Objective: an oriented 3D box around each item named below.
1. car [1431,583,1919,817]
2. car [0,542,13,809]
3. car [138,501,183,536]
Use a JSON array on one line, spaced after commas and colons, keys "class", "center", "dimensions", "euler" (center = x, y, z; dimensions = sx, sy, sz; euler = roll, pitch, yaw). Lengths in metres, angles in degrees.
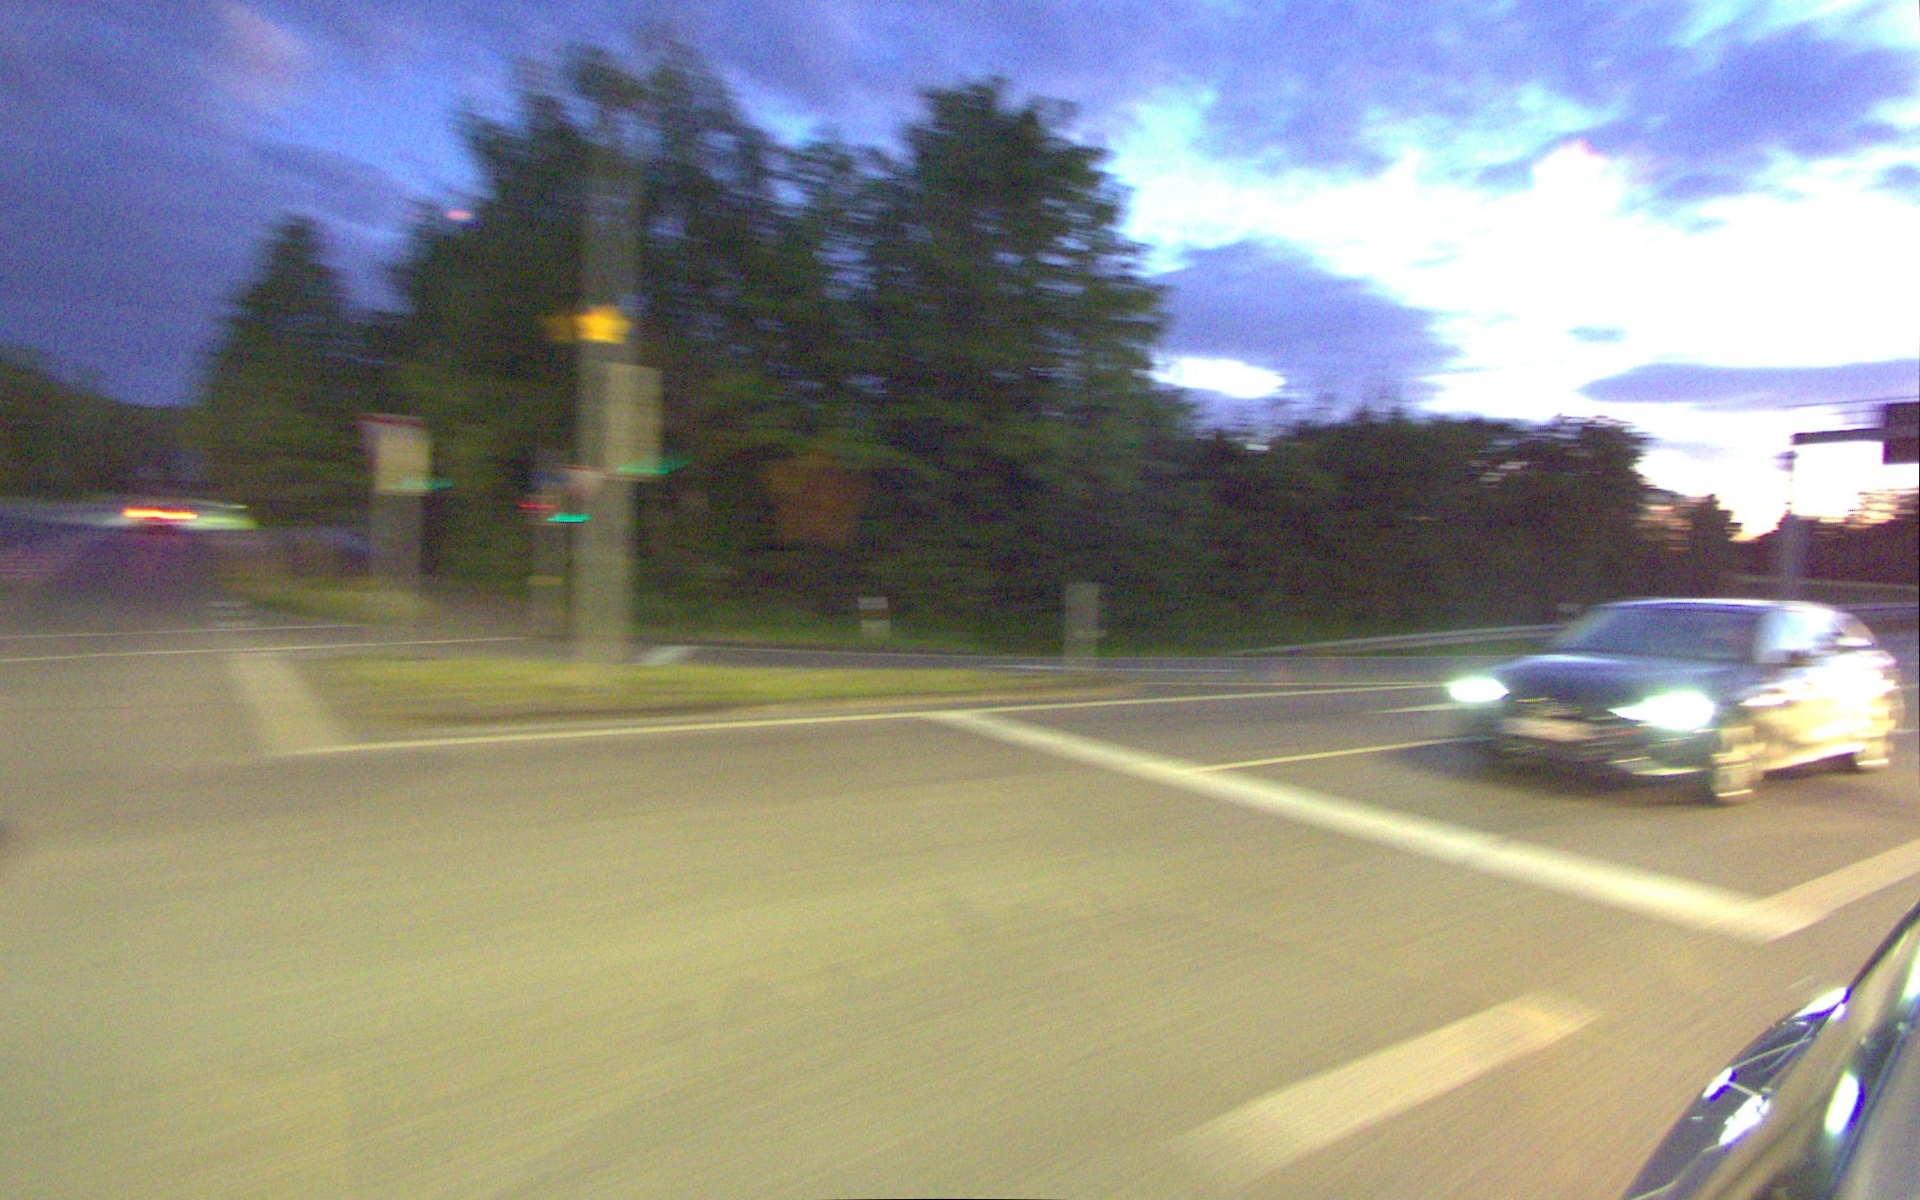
[{"class": "car", "center": [6.022, 0.614, 8.310], "dimensions": [4.445, 1.461, 1.797], "euler": [0, 1, -33]}, {"class": "car", "center": [-6.600, 0.421, 3.921], "dimensions": [4.038, 1.461, 1.625], "euler": [1, 1, -34]}, {"class": "car", "center": [-44.606, -4.575, 56.505], "dimensions": [1.707, 1.590, 4.066], "euler": [0, 7, -35]}]
